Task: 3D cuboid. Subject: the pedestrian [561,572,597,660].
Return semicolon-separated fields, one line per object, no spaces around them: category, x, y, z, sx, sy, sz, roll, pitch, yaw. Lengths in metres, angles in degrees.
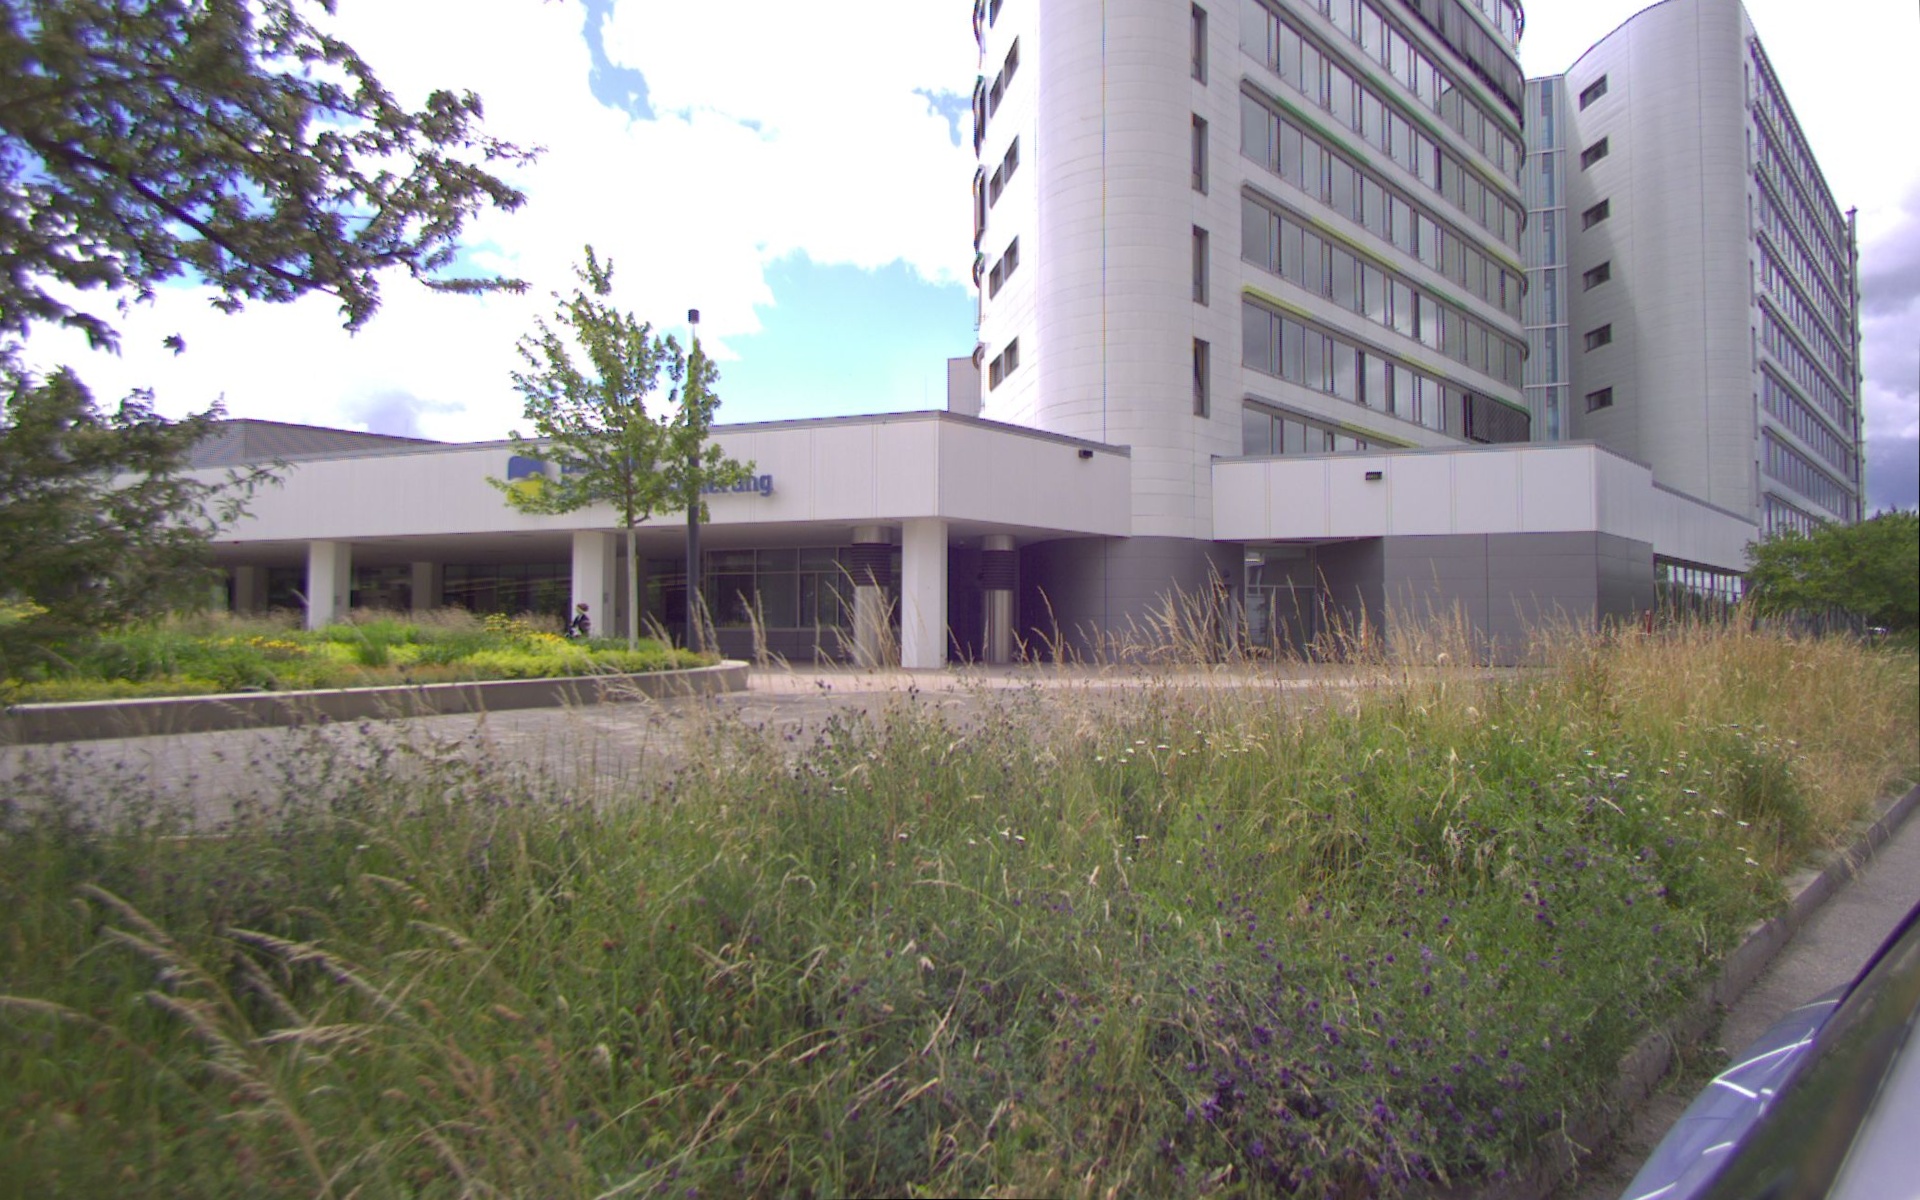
pedestrian;-9.025;0.379;23.992;0.596;2.040;0.695;0;-2;0
